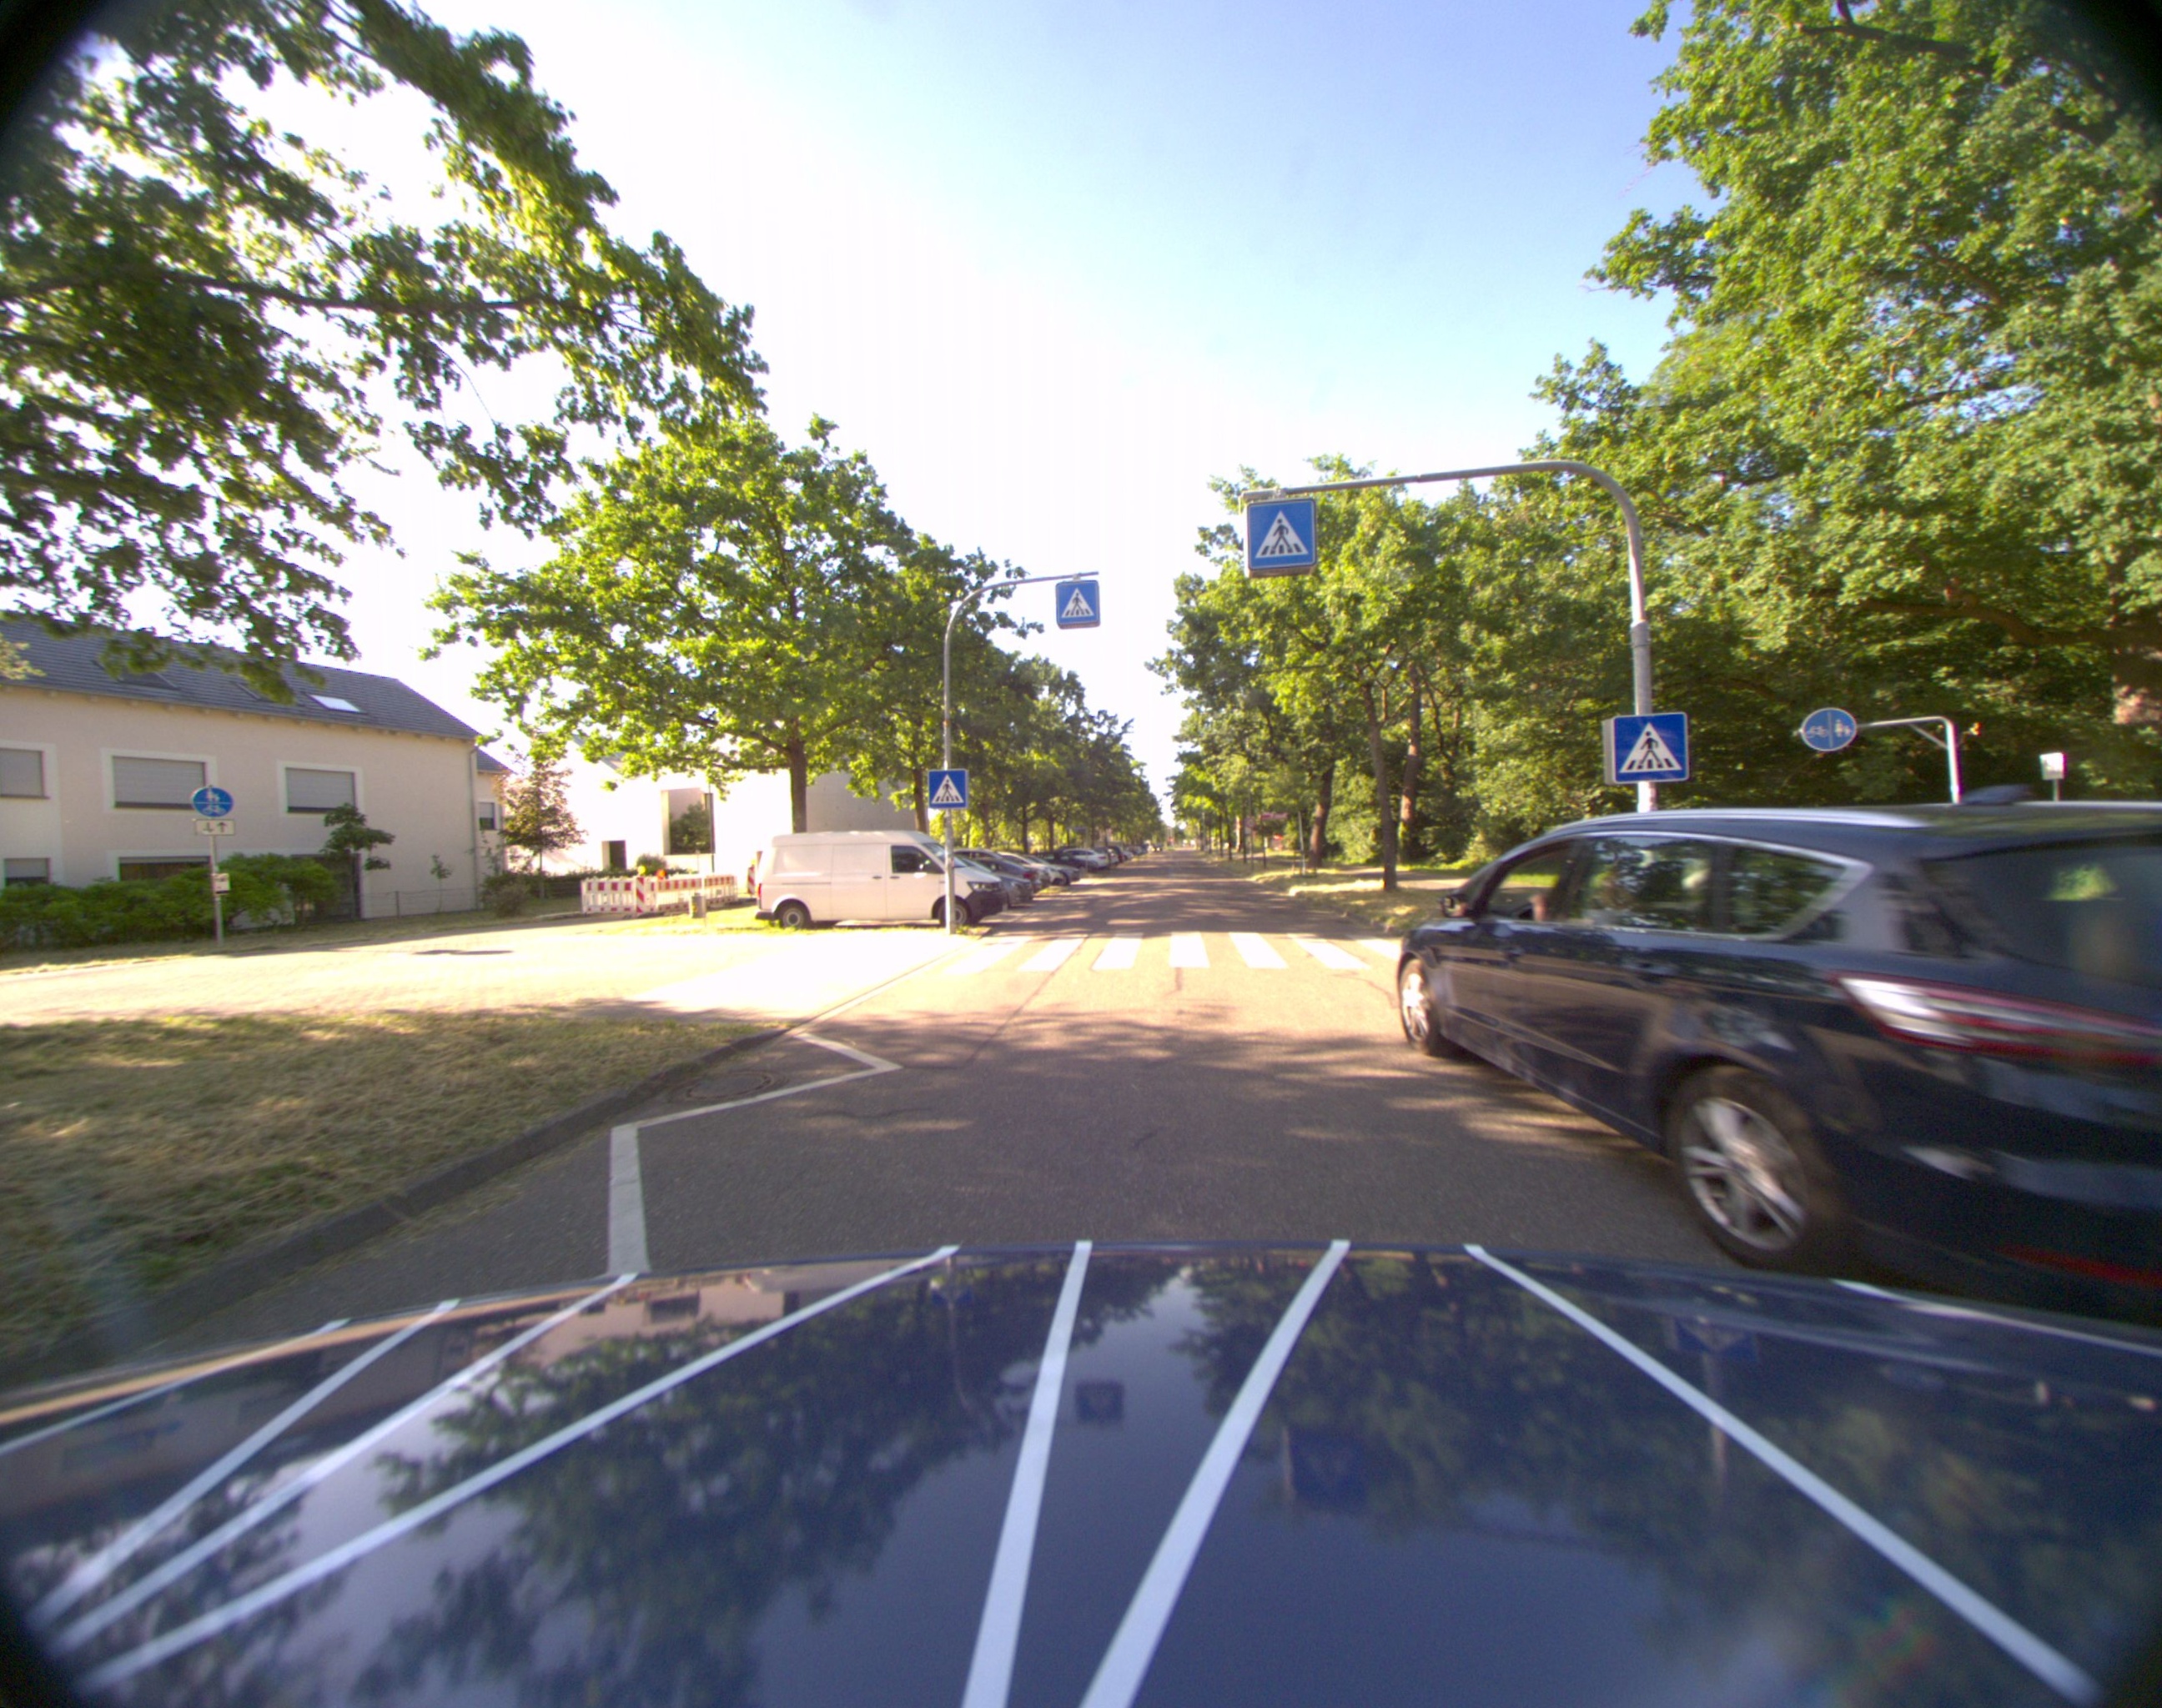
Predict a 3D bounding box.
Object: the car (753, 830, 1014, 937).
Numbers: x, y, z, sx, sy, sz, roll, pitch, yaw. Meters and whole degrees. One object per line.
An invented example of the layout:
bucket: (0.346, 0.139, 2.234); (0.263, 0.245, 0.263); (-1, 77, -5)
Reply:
car: (-4.145, 0.611, 16.416); (5.043, 2.069, 1.891); (-2, 1, 6)

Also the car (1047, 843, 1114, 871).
car: (0.004, 0.201, 53.136); (4.393, 1.733, 1.533); (-3, 1, 8)

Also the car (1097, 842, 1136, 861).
car: (3.857, -0.320, 82.816); (3.995, 1.838, 1.864); (-3, 1, 7)

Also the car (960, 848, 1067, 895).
car: (-2.739, 0.706, 31.155); (4.017, 1.669, 1.533); (-3, 1, 8)

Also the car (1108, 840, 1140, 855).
car: (5.883, -0.903, 103.676); (4.149, 1.838, 1.950); (-3, 1, 7)

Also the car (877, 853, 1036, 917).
car: (-3.455, 0.863, 21.485); (3.994, 1.554, 1.758); (-3, 1, 8)

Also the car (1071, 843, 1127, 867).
car: (1.495, 0.108, 62.661); (4.393, 1.733, 1.533); (-3, 1, 8)

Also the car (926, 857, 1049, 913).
car: (-2.913, 0.959, 23.983); (3.514, 1.533, 1.449); (-3, 1, 8)

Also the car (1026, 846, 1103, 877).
car: (-0.973, 0.469, 46.162); (4.393, 1.632, 1.533); (-3, 1, 8)

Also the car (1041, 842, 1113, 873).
car: (-0.265, 0.224, 49.128); (4.393, 1.733, 1.533); (-3, 1, 8)

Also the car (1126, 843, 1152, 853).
car: (9.513, -0.949, 124.778); (4.149, 1.401, 1.801); (-3, 1, 7)

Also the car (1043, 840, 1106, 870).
car: (-0.439, 0.045, 56.619); (4.393, 1.977, 1.533); (-3, 1, 8)

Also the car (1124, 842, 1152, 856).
car: (8.632, -0.794, 114.727); (4.149, 1.838, 1.950); (-3, 1, 7)

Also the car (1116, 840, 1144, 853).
car: (7.780, -1.142, 119.911); (4.149, 1.838, 1.950); (-3, 1, 7)

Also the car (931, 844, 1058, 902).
car: (-2.985, 0.629, 26.553); (4.017, 1.783, 1.713); (-3, 1, 8)

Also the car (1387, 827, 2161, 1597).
car: (3.247, 0.716, 3.718); (1.826, 1.616, 4.492); (0, 1, 2)

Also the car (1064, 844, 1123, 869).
car: (1.003, 0.164, 60.330); (4.393, 1.733, 1.533); (-3, 1, 8)

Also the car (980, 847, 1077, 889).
car: (-2.314, 0.620, 34.131); (4.017, 1.650, 1.533); (-3, 1, 8)
